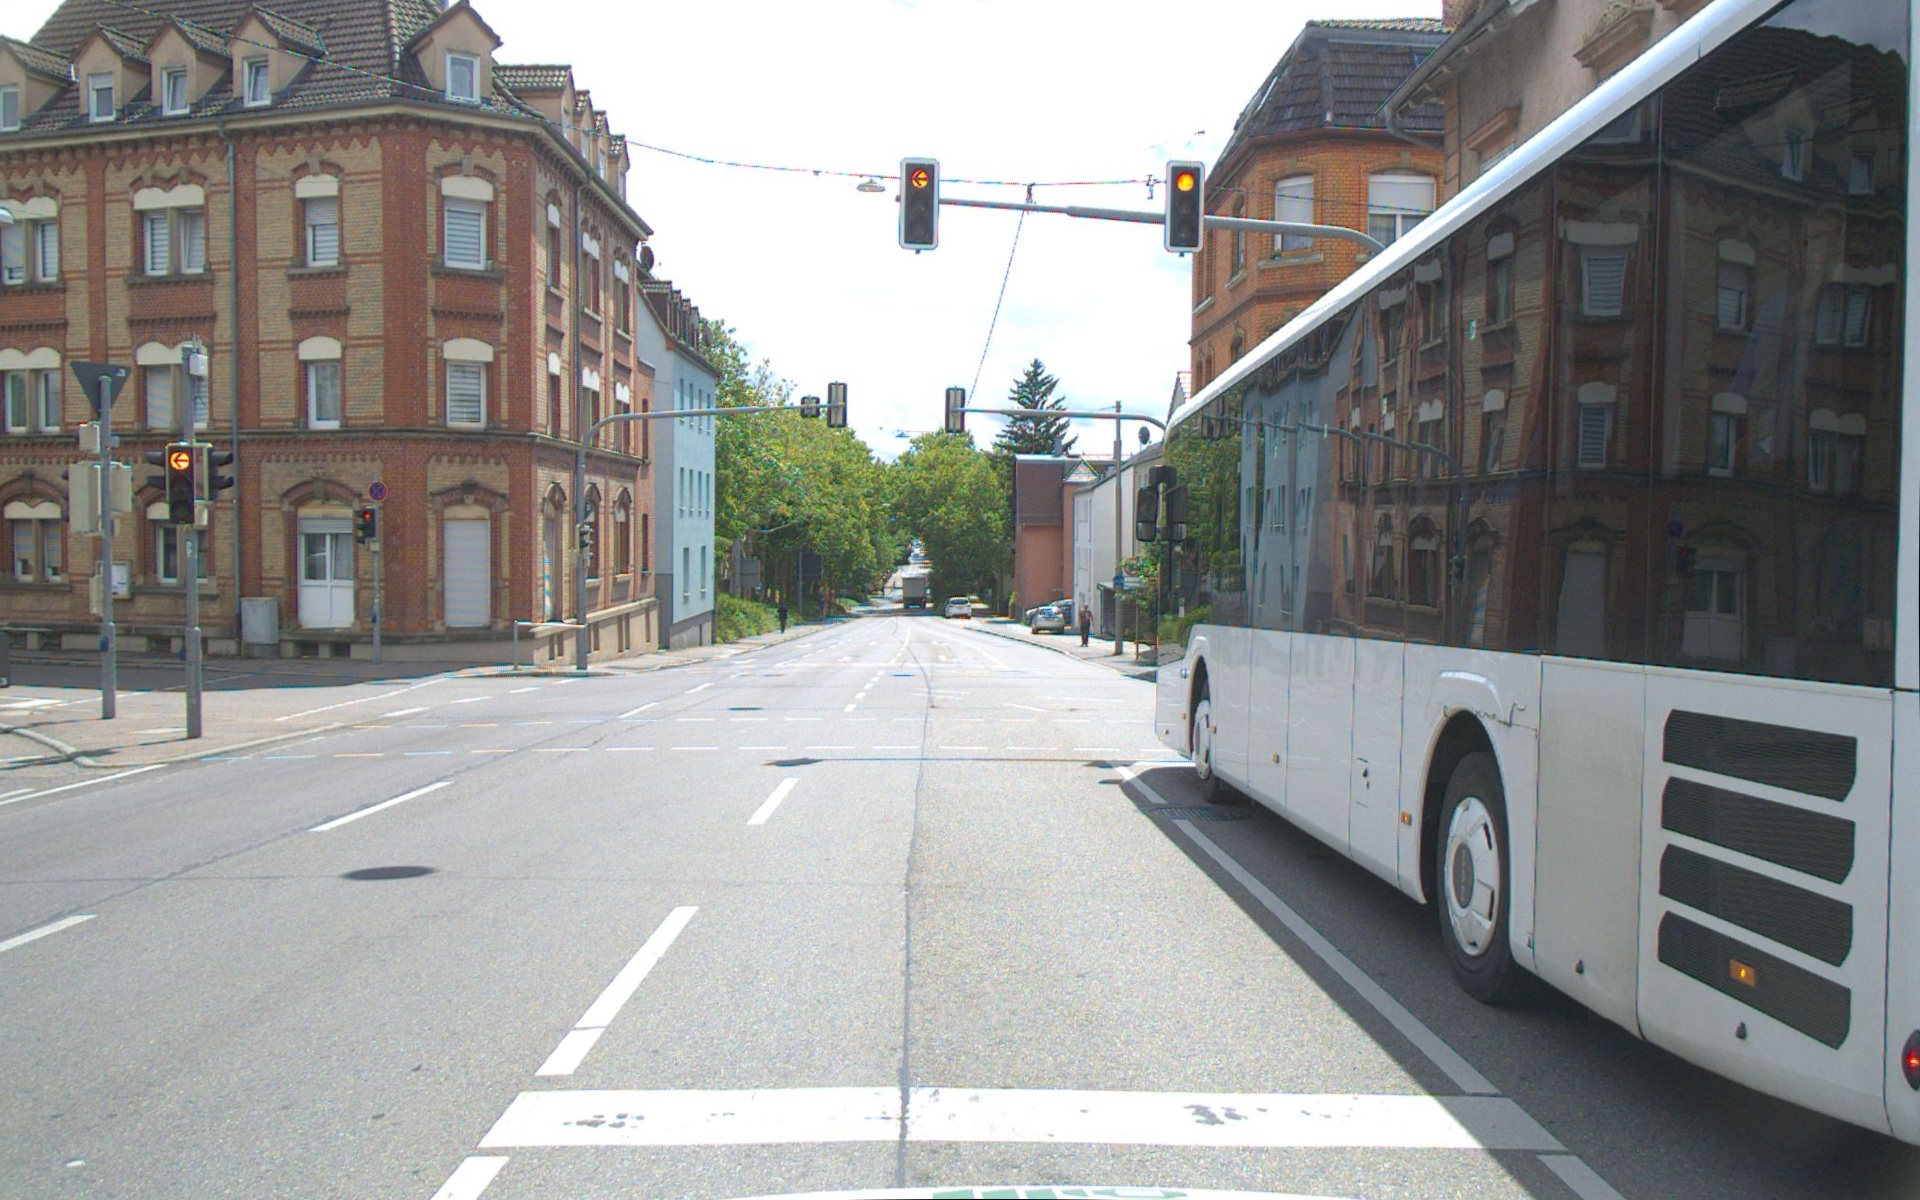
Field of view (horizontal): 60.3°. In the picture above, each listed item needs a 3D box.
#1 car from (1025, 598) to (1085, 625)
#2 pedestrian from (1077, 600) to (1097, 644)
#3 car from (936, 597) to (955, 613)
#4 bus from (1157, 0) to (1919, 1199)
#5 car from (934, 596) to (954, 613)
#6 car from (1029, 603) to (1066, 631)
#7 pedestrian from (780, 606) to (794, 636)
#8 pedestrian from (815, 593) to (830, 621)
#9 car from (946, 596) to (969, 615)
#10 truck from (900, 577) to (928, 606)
[{"bbox_3d":[6.491,0.774,113.248,3.909,1.788,1.998,-1,0,-6],"label":"car"},{"bbox_3d":[5.199,0.905,67.857,0.723,1.781,0.619,-1,0,-1],"label":"pedestrian"},{"bbox_3d":[-1.329,0.508,153.896,1.757,1.434,4.418,1,0,0],"label":"car"},{"bbox_3d":[3.237,-0.149,9.285,2.618,3.211,12.459,0,0,-1],"label":"bus"},{"bbox_3d":[-1.398,0.400,146.428,1.757,1.434,4.418,1,0,0],"label":"car"},{"bbox_3d":[4.917,0.942,93.123,1.758,1.434,3.999,-1,1,-2],"label":"car"},{"bbox_3d":[-9.287,1.110,88.725,0.714,1.592,0.560,0,0,-2],"label":"pedestrian"},{"bbox_3d":[-9.861,0.494,118.363,0.974,2.049,1.188,0,0,-1],"label":"pedestrian"},{"bbox_3d":[-0.183,0.450,129.575,1.758,1.434,3.999,1,0,-1],"label":"car"},{"bbox_3d":[-5.090,-0.932,183.163,2.868,3.135,7.881,-1,0,-3],"label":"truck"}]
